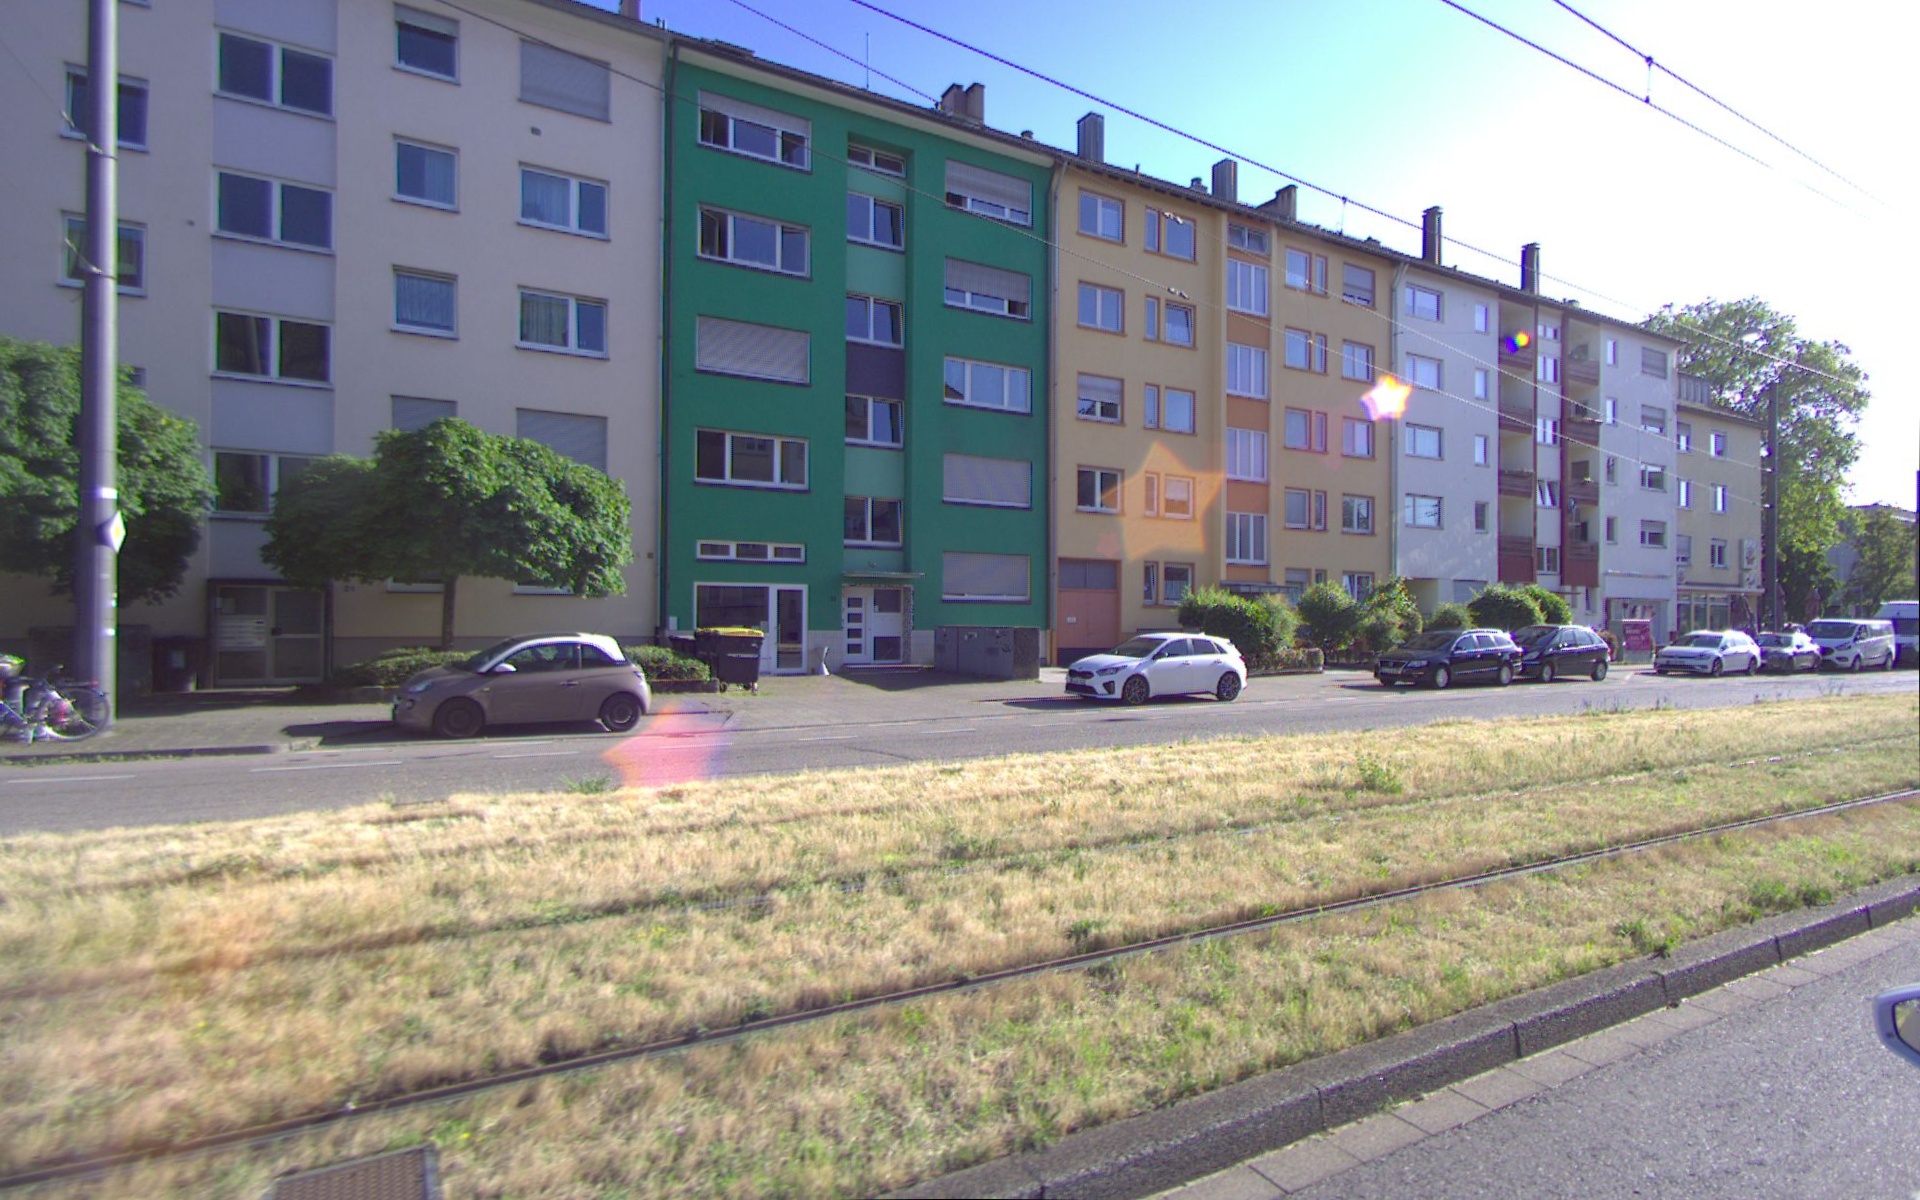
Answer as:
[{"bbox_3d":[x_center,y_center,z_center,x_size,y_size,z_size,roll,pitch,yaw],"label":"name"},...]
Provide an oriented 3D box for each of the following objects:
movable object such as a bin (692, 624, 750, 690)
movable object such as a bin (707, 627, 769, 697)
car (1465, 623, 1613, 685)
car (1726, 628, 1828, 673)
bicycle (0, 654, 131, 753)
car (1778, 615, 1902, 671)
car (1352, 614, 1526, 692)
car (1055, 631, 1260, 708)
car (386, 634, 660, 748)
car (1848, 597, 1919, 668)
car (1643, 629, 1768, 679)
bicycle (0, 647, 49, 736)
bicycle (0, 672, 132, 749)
[{"bbox_3d":[-5.406,1.268,22.697,1.026,1.386,1.142,1,1,-27],"label":"movable object such as a bin"},{"bbox_3d":[-4.780,1.307,21.589,1.026,1.386,1.142,1,1,-27],"label":"movable object such as a bin"},{"bbox_3d":[17.156,1.541,29.743,4.102,1.629,1.984,1,1,-30],"label":"car"},{"bbox_3d":[30.241,1.836,37.158,4.279,1.535,1.685,1,0,-33],"label":"car"},{"bbox_3d":[-11.433,1.267,12.342,1.921,1.107,0.504,0,2,-42],"label":"bicycle"},{"bbox_3d":[35.292,1.677,40.248,5.305,2.048,2.023,1,1,-29],"label":"car"},{"bbox_3d":[12.959,1.369,27.117,4.555,1.862,1.984,1,1,-30],"label":"car"},{"bbox_3d":[4.338,1.453,21.906,4.324,1.474,1.720,1,0,-30],"label":"car"},{"bbox_3d":[-6.735,1.315,15.573,3.693,1.461,1.626,1,1,-32],"label":"car"},{"bbox_3d":[41.339,1.368,43.785,6.152,2.907,2.023,1,0,-29],"label":"car"},{"bbox_3d":[25.596,1.808,34.466,4.651,1.511,1.882,1,1,-32],"label":"car"},{"bbox_3d":[-12.878,1.233,12.876,0.603,1.107,2.053,1,1,-3],"label":"bicycle"},{"bbox_3d":[-11.775,1.400,12.680,2.039,0.877,0.373,0,2,-42],"label":"bicycle"}]
